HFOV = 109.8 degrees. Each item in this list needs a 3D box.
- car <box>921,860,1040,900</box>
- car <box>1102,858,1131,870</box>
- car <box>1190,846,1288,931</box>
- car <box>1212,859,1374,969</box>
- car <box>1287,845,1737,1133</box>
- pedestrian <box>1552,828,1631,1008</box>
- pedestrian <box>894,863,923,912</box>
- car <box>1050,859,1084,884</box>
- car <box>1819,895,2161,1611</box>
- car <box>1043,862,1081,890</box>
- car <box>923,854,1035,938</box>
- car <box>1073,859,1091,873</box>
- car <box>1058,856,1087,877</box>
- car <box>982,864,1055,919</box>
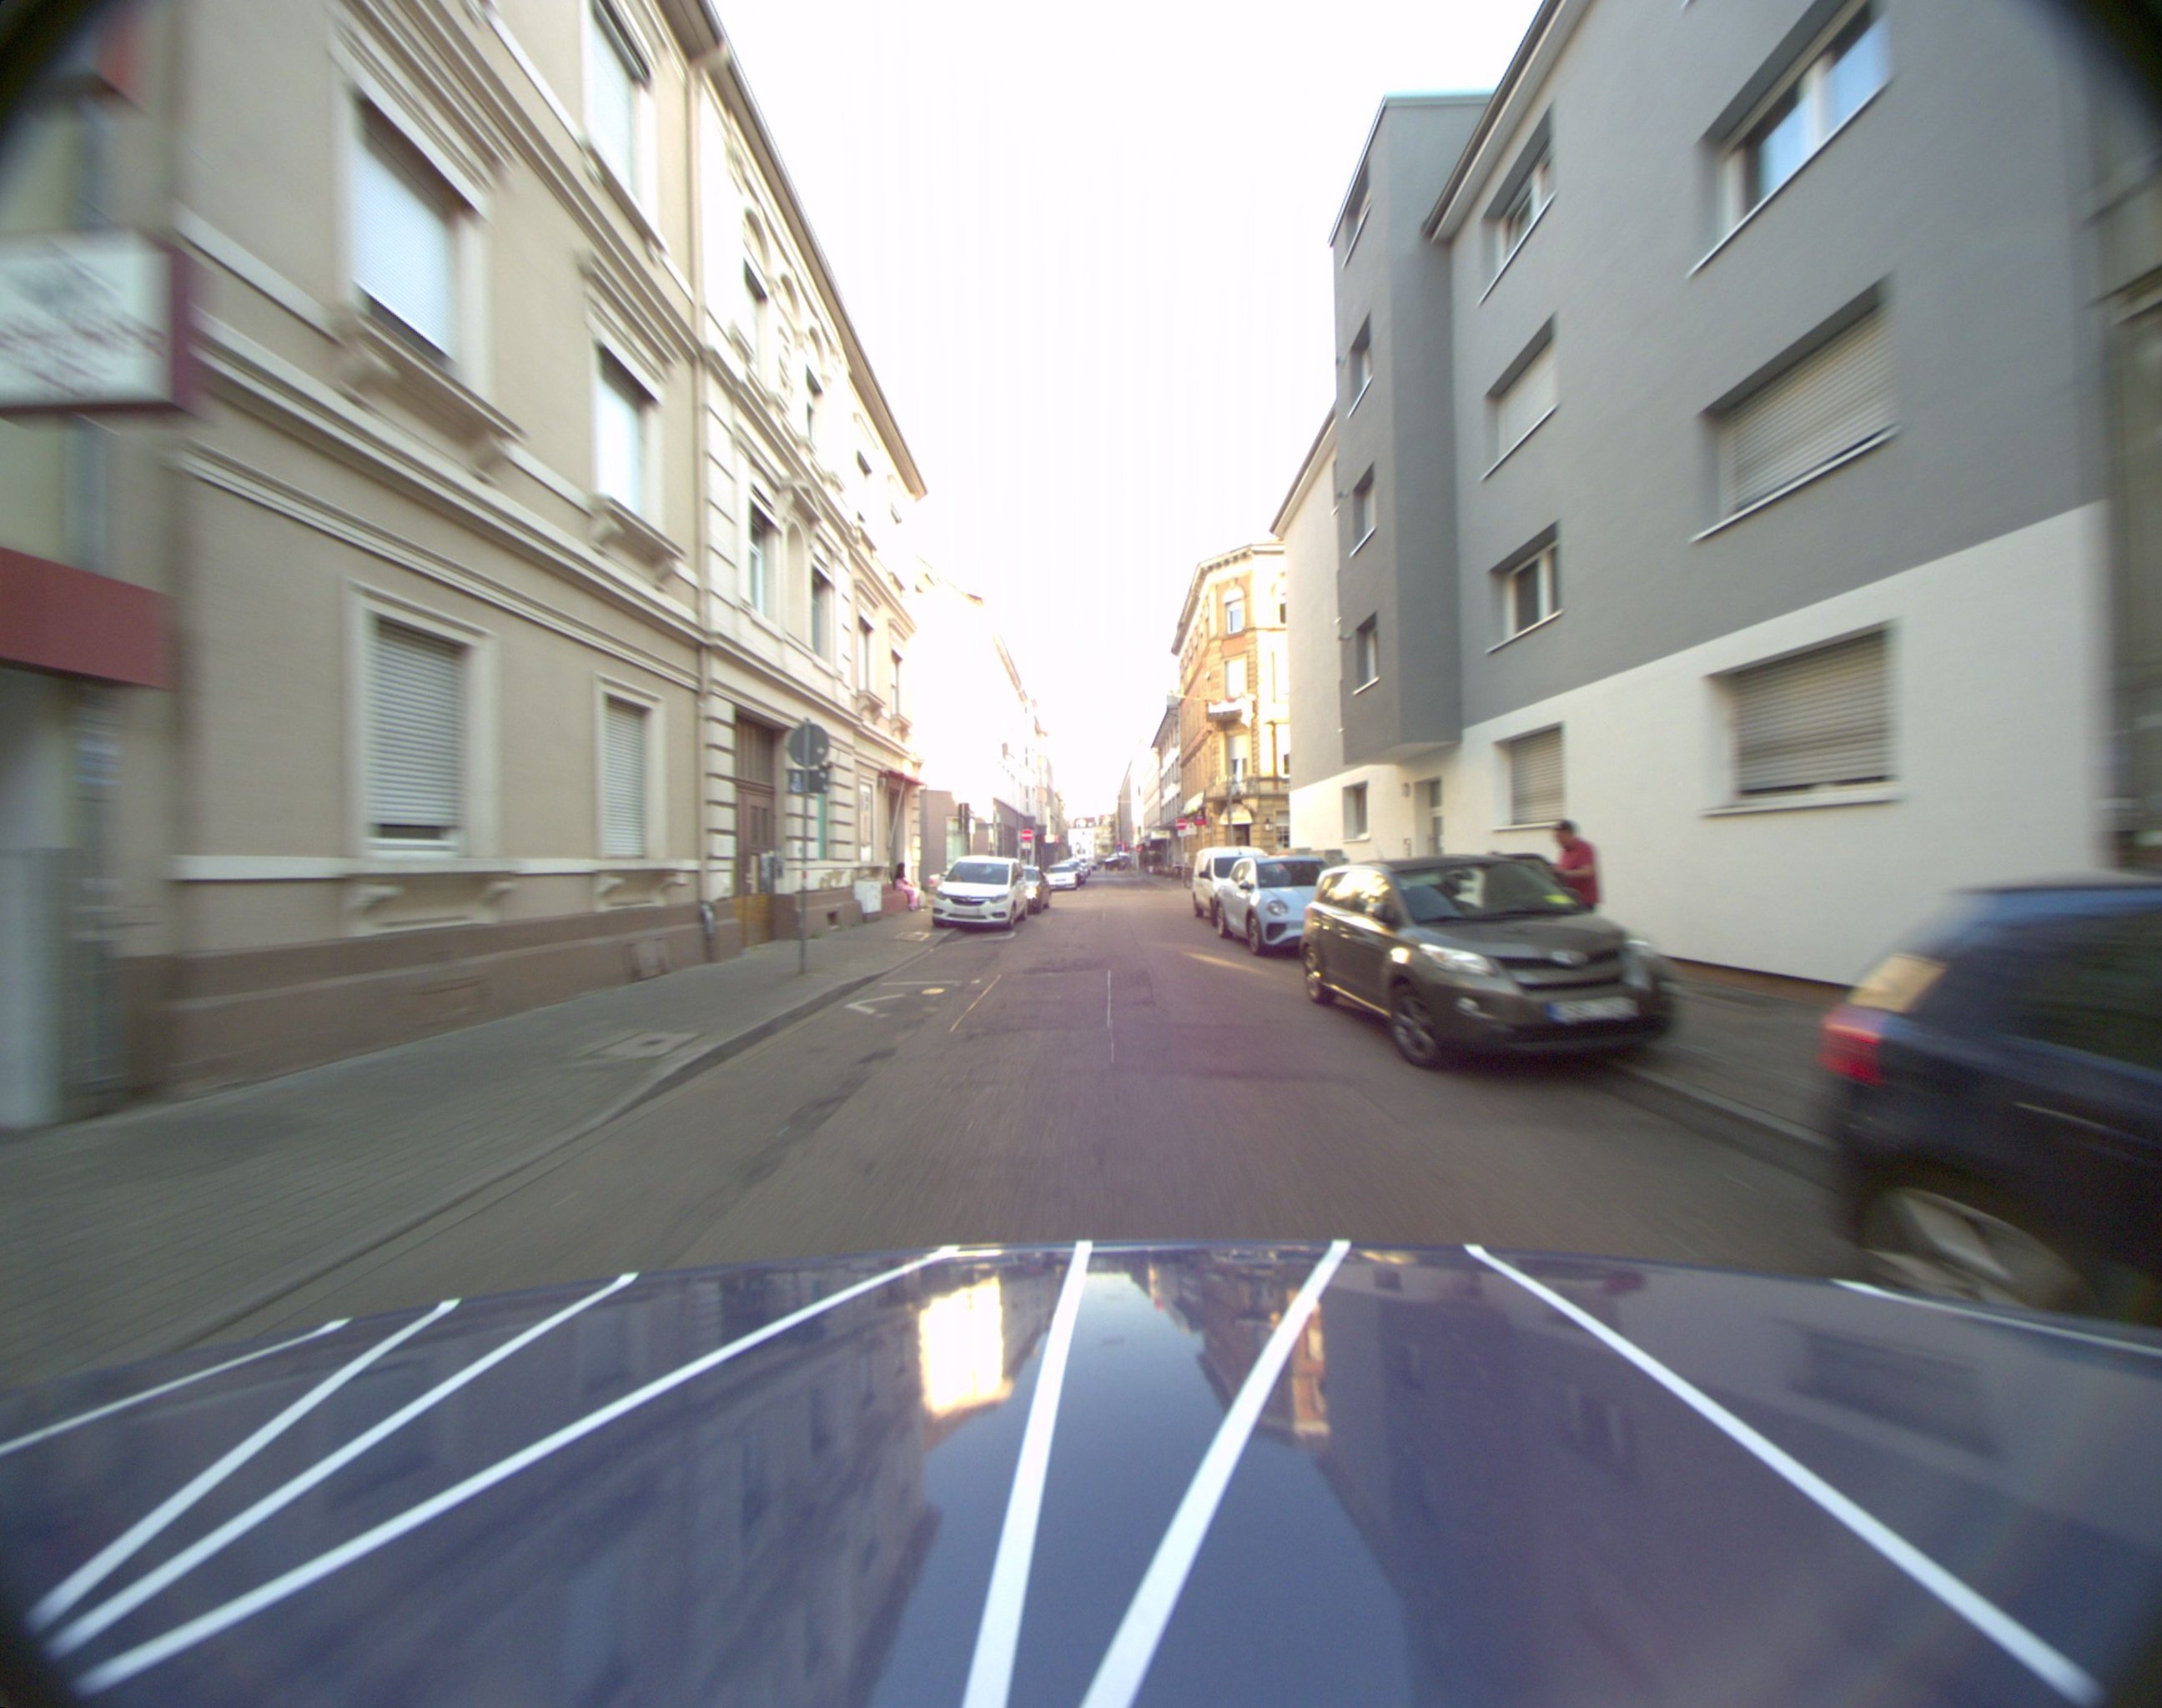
[{"bbox_3d":[-4.018,1.050,30.835,4.466,1.395,1.683,-2,0,5],"label":"car"},{"bbox_3d":[4.907,1.376,106.625,3.881,1.568,1.734,-1,0,44],"label":"car"},{"bbox_3d":[3.666,0.751,18.229,1.642,1.786,3.784,-1,0,2],"label":"car"},{"bbox_3d":[3.413,0.886,12.958,1.642,1.571,3.783,-1,0,-1],"label":"car"},{"bbox_3d":[3.121,0.824,6.479,1.642,1.701,3.783,-1,0,-1],"label":"car"},{"bbox_3d":[5.099,0.622,7.611,0.456,1.745,0.455,-1,0,0],"label":"pedestrian"},{"bbox_3d":[-5.113,0.980,22.515,0.696,1.415,0.484,-1,0,2],"label":"pedestrian"},{"bbox_3d":[-0.805,1.026,45.713,1.729,1.390,3.893,-1,0,3],"label":"car"},{"bbox_3d":[3.056,0.862,0.390,1.642,1.480,3.955,-1,0,3],"label":"car"},{"bbox_3d":[-0.982,1.184,41.232,1.729,1.390,3.893,-1,0,3],"label":"car"},{"bbox_3d":[-2.325,0.908,18.494,1.841,1.685,4.359,4,0,3],"label":"car"},{"bbox_3d":[0.131,1.251,78.659,1.729,1.390,3.893,-1,0,3],"label":"car"},{"bbox_3d":[-0.566,0.826,51.650,1.729,1.390,3.893,-1,0,3],"label":"car"},{"bbox_3d":[-1.857,1.100,23.697,1.729,1.469,3.977,-2,0,3],"label":"car"}]
